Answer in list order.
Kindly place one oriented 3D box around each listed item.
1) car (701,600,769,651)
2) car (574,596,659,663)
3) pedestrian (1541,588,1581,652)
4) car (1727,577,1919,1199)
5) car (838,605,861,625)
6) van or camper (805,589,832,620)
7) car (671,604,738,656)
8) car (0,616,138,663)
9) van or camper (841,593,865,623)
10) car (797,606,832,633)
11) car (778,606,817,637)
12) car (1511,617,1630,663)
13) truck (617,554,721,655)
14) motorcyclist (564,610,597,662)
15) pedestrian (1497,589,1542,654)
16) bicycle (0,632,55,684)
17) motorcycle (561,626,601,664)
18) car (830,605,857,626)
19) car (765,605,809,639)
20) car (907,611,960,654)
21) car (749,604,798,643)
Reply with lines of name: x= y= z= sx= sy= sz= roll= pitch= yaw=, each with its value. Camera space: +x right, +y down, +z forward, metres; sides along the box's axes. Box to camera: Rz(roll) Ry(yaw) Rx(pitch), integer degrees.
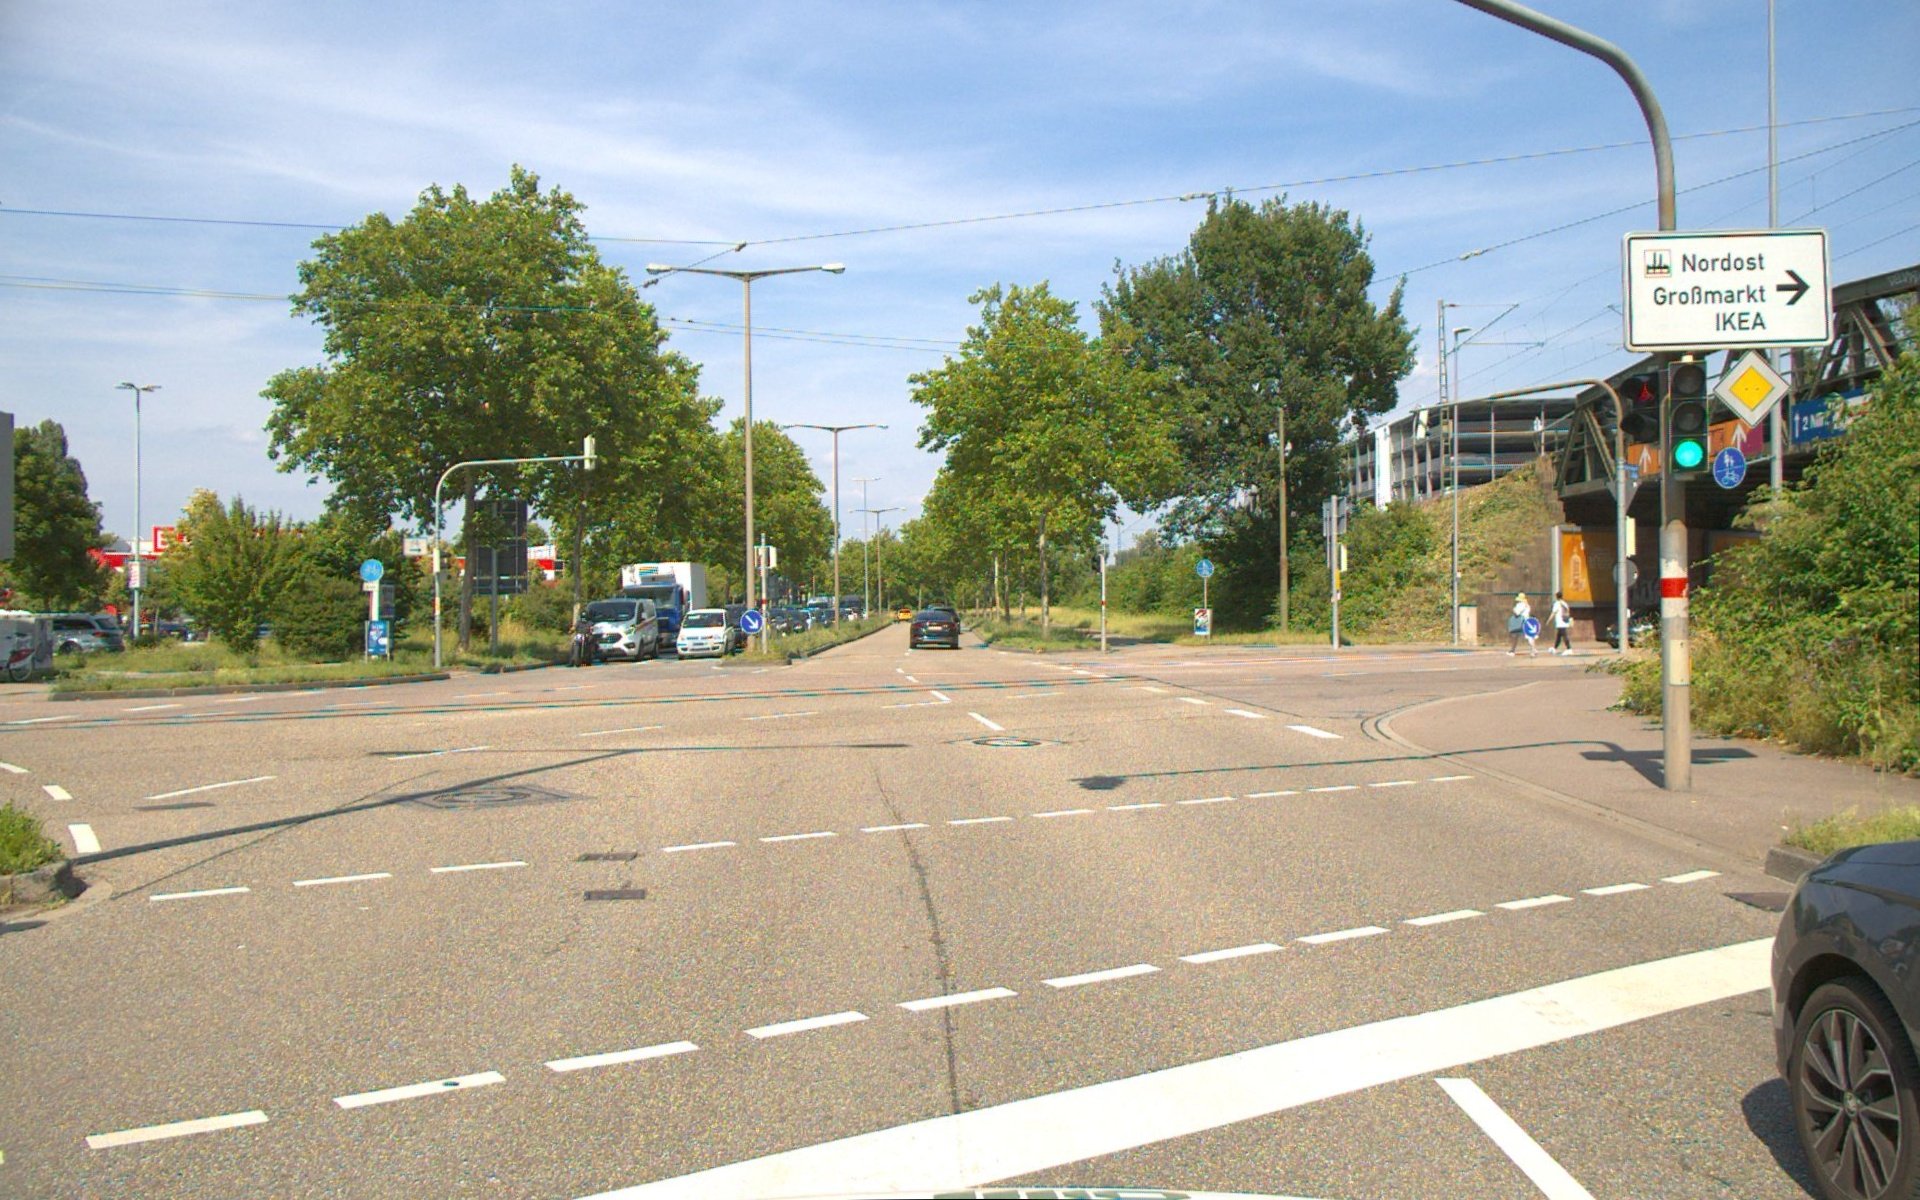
car: x=-7.879 y=0.895 z=58.285 sx=1.783 sy=1.675 sz=4.692 roll=-2 pitch=-1 yaw=-1
car: x=-10.939 y=0.900 z=52.982 sx=1.937 sy=2.034 sz=5.028 roll=-1 pitch=0 yaw=-3
pedestrian: x=15.312 y=0.512 z=42.127 sx=0.714 sy=1.607 sz=0.777 roll=-1 pitch=0 yaw=-1
car: x=2.994 y=0.697 z=2.605 sx=1.640 sy=1.479 sz=4.035 roll=1 pitch=0 yaw=-1
car: x=-8.775 y=1.162 z=131.595 sx=1.654 sy=1.537 sz=3.814 roll=-2 pitch=0 yaw=-1
van or camper: x=-12.504 y=0.395 z=146.449 sx=1.974 sy=2.633 sz=5.516 roll=-2 pitch=0 yaw=-1
car: x=-8.041 y=0.918 z=52.347 sx=1.560 sy=1.503 sz=3.728 roll=-2 pitch=0 yaw=-1
car: x=-29.714 y=1.282 z=54.180 sx=4.477 sy=1.439 sz=2.197 roll=-1 pitch=0 yaw=-8
van or camper: x=-9.062 y=0.732 z=140.550 sx=1.899 sy=2.410 sz=5.395 roll=-2 pitch=-1 yaw=-2
car: x=-8.551 y=1.140 z=97.409 sx=1.749 sy=1.515 sz=4.209 roll=-2 pitch=0 yaw=-2
car: x=-8.286 y=1.088 z=84.718 sx=1.654 sy=1.497 sz=3.814 roll=-2 pitch=0 yaw=-1
car: x=20.920 y=1.336 z=56.597 sx=4.462 sy=1.433 sz=1.969 roll=0 pitch=0 yaw=-42
truck: x=-11.053 y=0.156 z=63.381 sx=2.747 sy=3.532 sz=6.690 roll=-3 pitch=0 yaw=-1
motorcyclist: x=-11.007 y=1.042 z=48.053 sx=0.728 sy=1.496 sz=0.987 roll=-1 pitch=0 yaw=-1
pedestrian: x=14.246 y=0.539 z=42.131 sx=0.850 sy=1.640 sz=0.777 roll=-1 pitch=0 yaw=-1
bicycle: x=-19.949 y=1.207 z=34.675 sx=0.581 sy=1.055 sz=1.897 roll=-1 pitch=0 yaw=13
motorcycle: x=-10.971 y=1.290 z=47.959 sx=0.674 sy=1.009 sz=2.217 roll=-1 pitch=0 yaw=-1
car: x=-8.788 y=1.173 z=125.033 sx=1.747 sy=1.484 sz=4.471 roll=-2 pitch=0 yaw=-1
car: x=-8.223 y=1.039 z=79.083 sx=1.655 sy=1.499 sz=4.217 roll=-3 pitch=0 yaw=-1
car: x=-1.026 y=1.189 z=61.986 sx=1.870 sy=1.489 sz=4.619 roll=-1 pitch=0 yaw=-2
car: x=-8.063 y=0.992 z=71.812 sx=1.654 sy=1.614 sz=4.239 roll=-2 pitch=0 yaw=-1
